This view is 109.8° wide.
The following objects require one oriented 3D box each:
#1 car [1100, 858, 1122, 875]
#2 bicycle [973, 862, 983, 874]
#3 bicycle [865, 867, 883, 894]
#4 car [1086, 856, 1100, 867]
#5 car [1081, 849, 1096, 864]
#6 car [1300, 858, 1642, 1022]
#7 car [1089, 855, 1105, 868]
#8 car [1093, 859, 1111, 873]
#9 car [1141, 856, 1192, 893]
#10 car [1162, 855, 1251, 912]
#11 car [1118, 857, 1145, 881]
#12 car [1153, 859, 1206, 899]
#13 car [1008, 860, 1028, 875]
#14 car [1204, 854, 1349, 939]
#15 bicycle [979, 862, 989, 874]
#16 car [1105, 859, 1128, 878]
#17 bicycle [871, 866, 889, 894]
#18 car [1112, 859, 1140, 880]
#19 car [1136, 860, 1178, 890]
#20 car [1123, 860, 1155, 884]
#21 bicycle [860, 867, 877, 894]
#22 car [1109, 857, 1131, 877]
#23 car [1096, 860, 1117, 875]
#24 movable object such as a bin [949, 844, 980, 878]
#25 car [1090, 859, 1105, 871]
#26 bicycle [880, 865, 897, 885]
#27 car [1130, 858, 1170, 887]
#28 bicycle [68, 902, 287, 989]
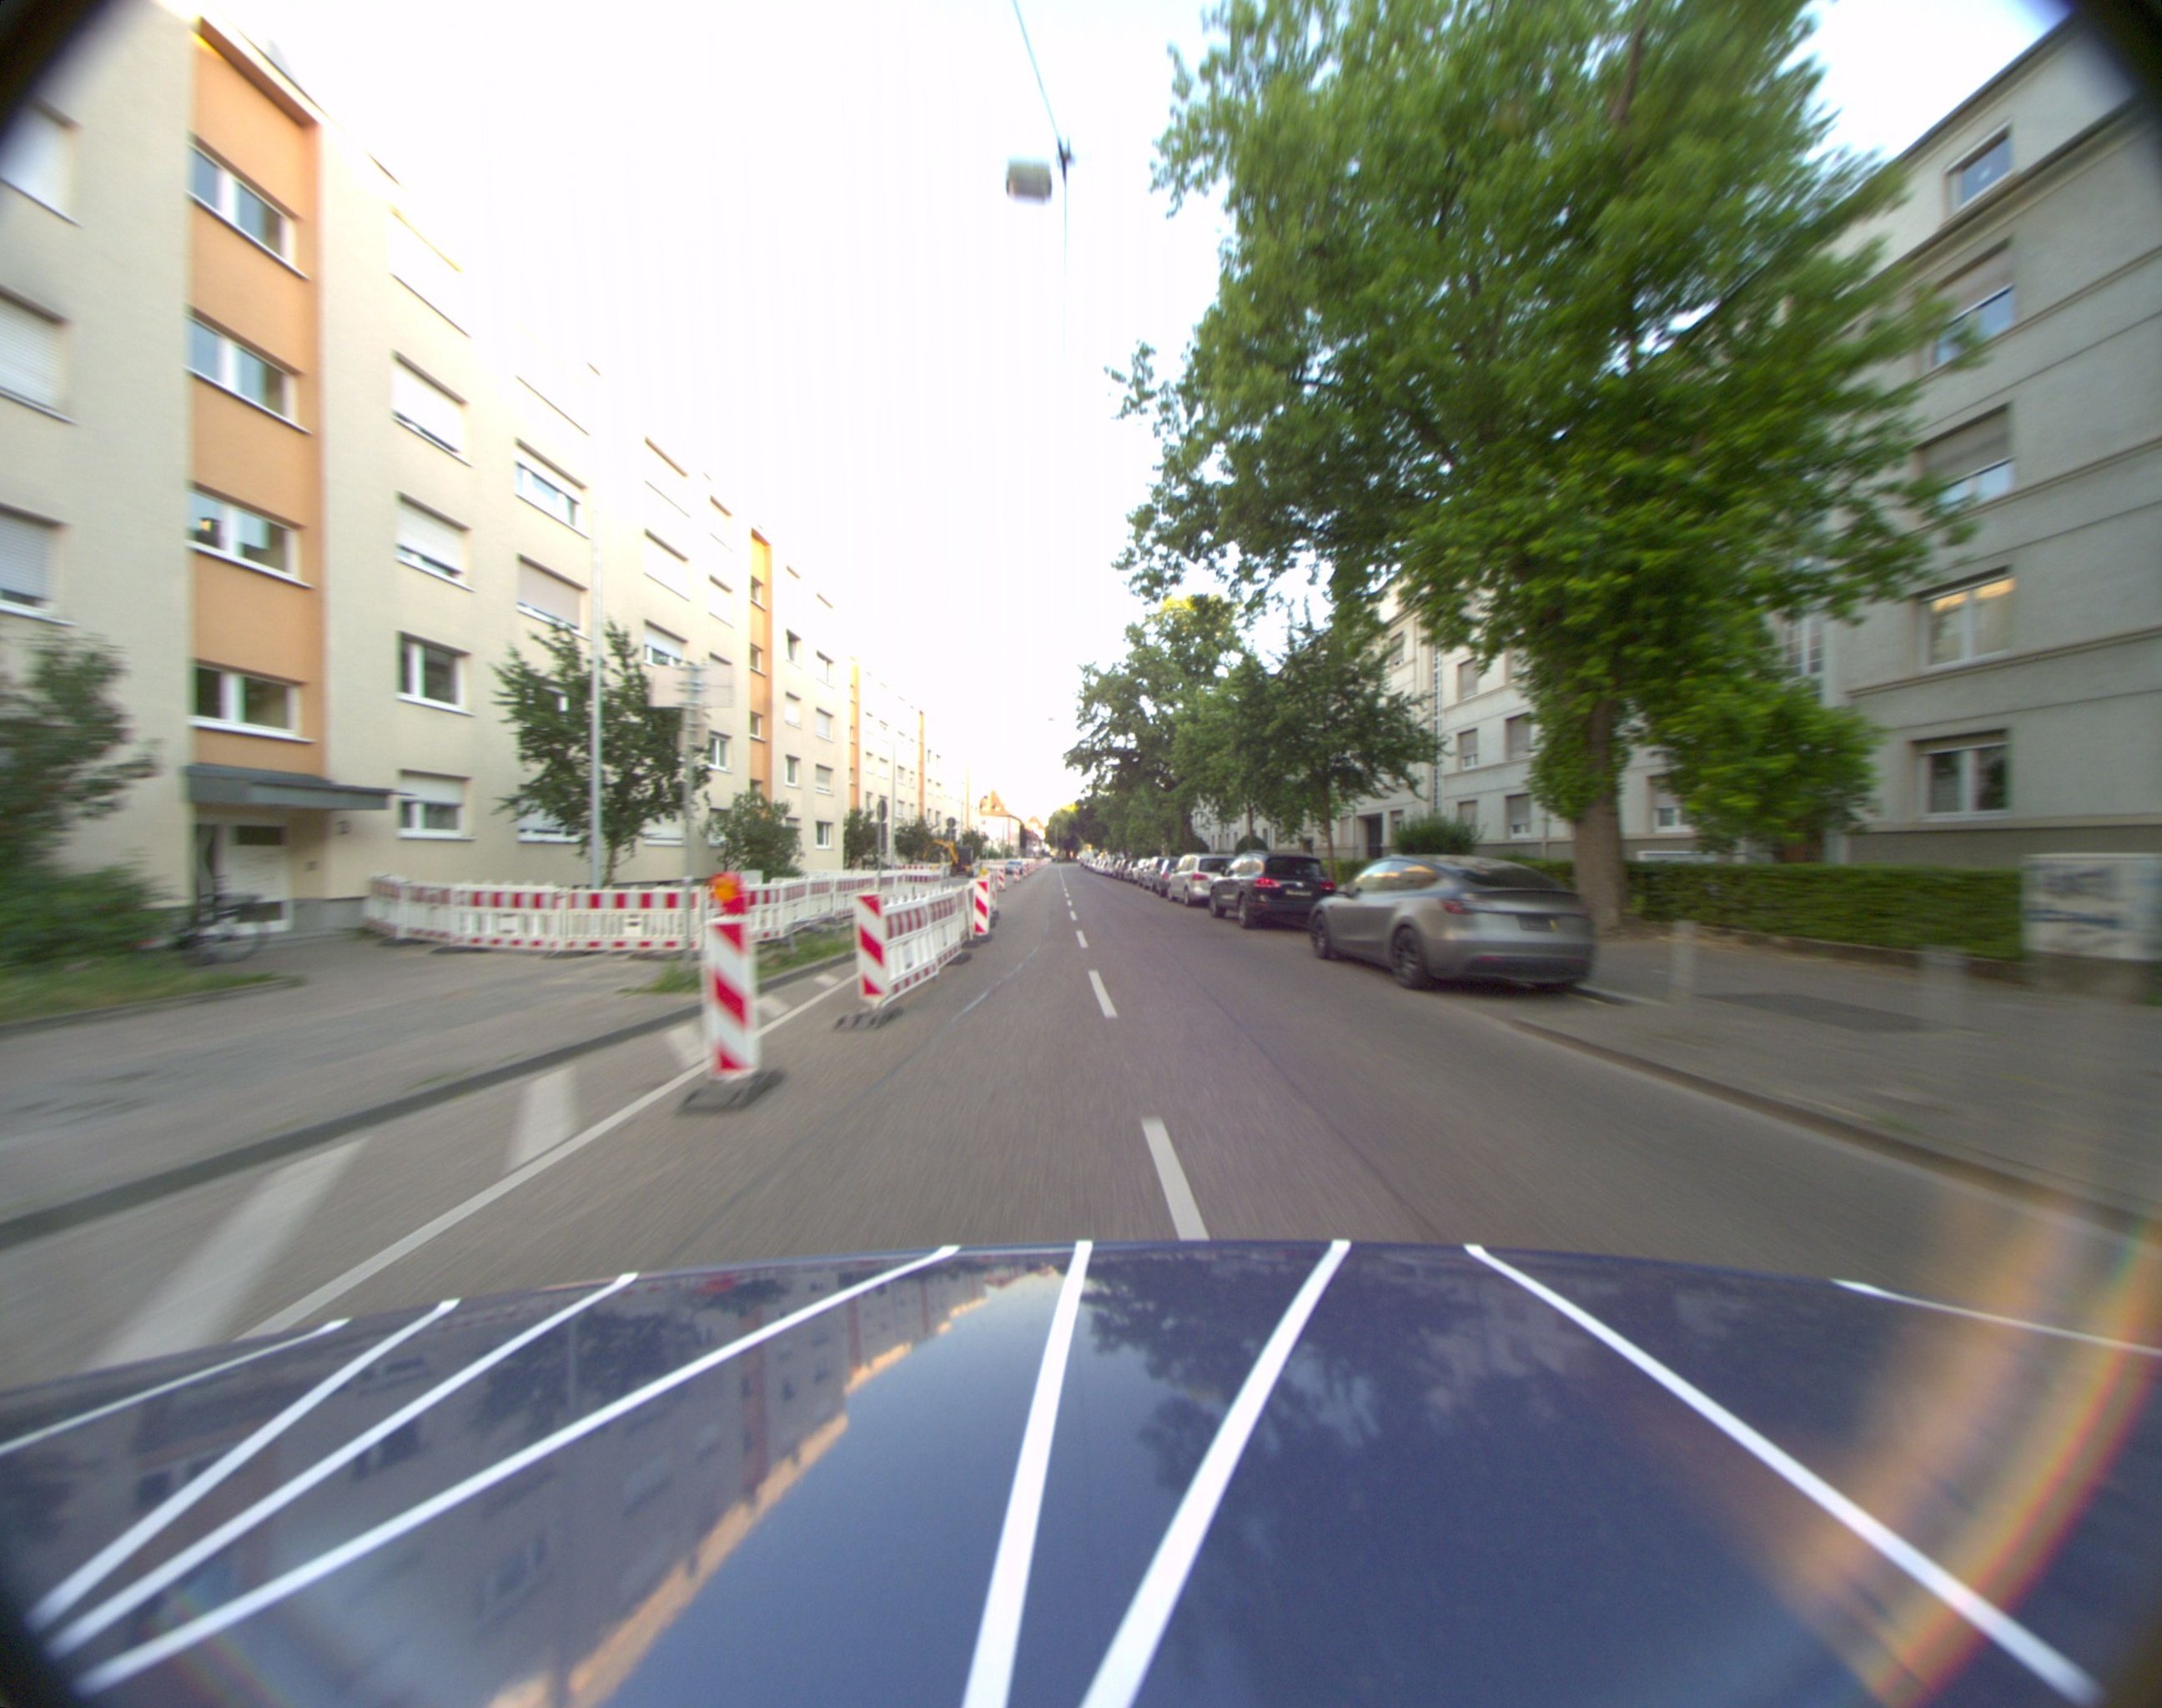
[{"bbox_3d":[2.866,1.170,73.499,1.697,1.451,4.482,3,0,-2],"label":"car"},{"bbox_3d":[-10.289,1.415,75.867,0.628,1.165,1.814,-1,0,-18],"label":"bicycle"},{"bbox_3d":[-9.635,1.209,35.358,0.399,1.214,1.910,-1,0,-4],"label":"bicycle"},{"bbox_3d":[1.712,1.048,108.530,1.757,1.463,4.223,3,0,-1],"label":"car"},{"bbox_3d":[1.292,0.427,127.232,2.185,2.447,6.102,3,0,-2],"label":"car"},{"bbox_3d":[4.619,0.883,9.991,1.959,1.607,4.604,2,0,-2],"label":"car"},{"bbox_3d":[2.177,1.026,103.140,1.757,1.622,4.106,3,0,-3],"label":"car"},{"bbox_3d":[2.456,1.384,87.934,1.679,1.451,3.704,3,0,-4],"label":"car"},{"bbox_3d":[3.964,0.909,35.826,1.712,1.591,4.116,3,0,-2],"label":"car"},{"bbox_3d":[4.064,0.889,25.421,1.852,1.681,4.857,2,0,-4],"label":"car"},{"bbox_3d":[3.574,1.049,54.189,1.527,1.520,3.163,3,0,-3],"label":"car"},{"bbox_3d":[3.941,0.963,30.987,1.736,1.488,4.271,2,0,3],"label":"car"},{"bbox_3d":[-6.703,1.434,80.996,1.781,1.482,4.573,4,0,-1],"label":"car"},{"bbox_3d":[4.395,0.882,17.942,1.959,1.709,4.770,2,0,-2],"label":"car"},{"bbox_3d":[-9.784,1.398,76.384,0.558,1.165,1.813,-1,0,-21],"label":"bicycle"},{"bbox_3d":[3.107,1.272,67.216,1.594,1.496,3.798,3,0,-2],"label":"car"},{"bbox_3d":[-9.362,1.201,35.457,0.453,1.214,1.910,-1,0,-4],"label":"bicycle"},{"bbox_3d":[3.423,1.174,58.278,1.594,1.458,4.100,3,0,-3],"label":"car"},{"bbox_3d":[3.975,1.079,40.246,1.712,1.443,3.842,3,0,-1],"label":"car"},{"bbox_3d":[3.794,1.137,50.047,1.594,1.395,4.180,3,0,-2],"label":"car"},{"bbox_3d":[-9.888,1.215,35.418,0.399,1.214,1.825,-1,0,-4],"label":"bicycle"},{"bbox_3d":[3.237,1.047,63.039,1.594,1.520,2.921,3,0,0],"label":"car"},{"bbox_3d":[2.628,1.359,78.355,1.697,1.451,4.143,3,0,-4],"label":"car"},{"bbox_3d":[-9.475,0.564,62.206,1.938,2.677,2.892,0,0,3],"label":"movable object such as a bin"},{"bbox_3d":[2.109,1.387,98.567,1.757,1.471,3.944,3,0,0],"label":"car"},{"bbox_3d":[-11.994,1.294,47.482,0.557,1.165,1.817,-1,0,1],"label":"bicycle"},{"bbox_3d":[4.005,1.051,44.643,1.595,1.530,4.205,3,0,-4],"label":"car"},{"bbox_3d":[-12.090,1.183,10.257,0.544,0.962,1.817,0,0,22],"label":"bicycle"}]
